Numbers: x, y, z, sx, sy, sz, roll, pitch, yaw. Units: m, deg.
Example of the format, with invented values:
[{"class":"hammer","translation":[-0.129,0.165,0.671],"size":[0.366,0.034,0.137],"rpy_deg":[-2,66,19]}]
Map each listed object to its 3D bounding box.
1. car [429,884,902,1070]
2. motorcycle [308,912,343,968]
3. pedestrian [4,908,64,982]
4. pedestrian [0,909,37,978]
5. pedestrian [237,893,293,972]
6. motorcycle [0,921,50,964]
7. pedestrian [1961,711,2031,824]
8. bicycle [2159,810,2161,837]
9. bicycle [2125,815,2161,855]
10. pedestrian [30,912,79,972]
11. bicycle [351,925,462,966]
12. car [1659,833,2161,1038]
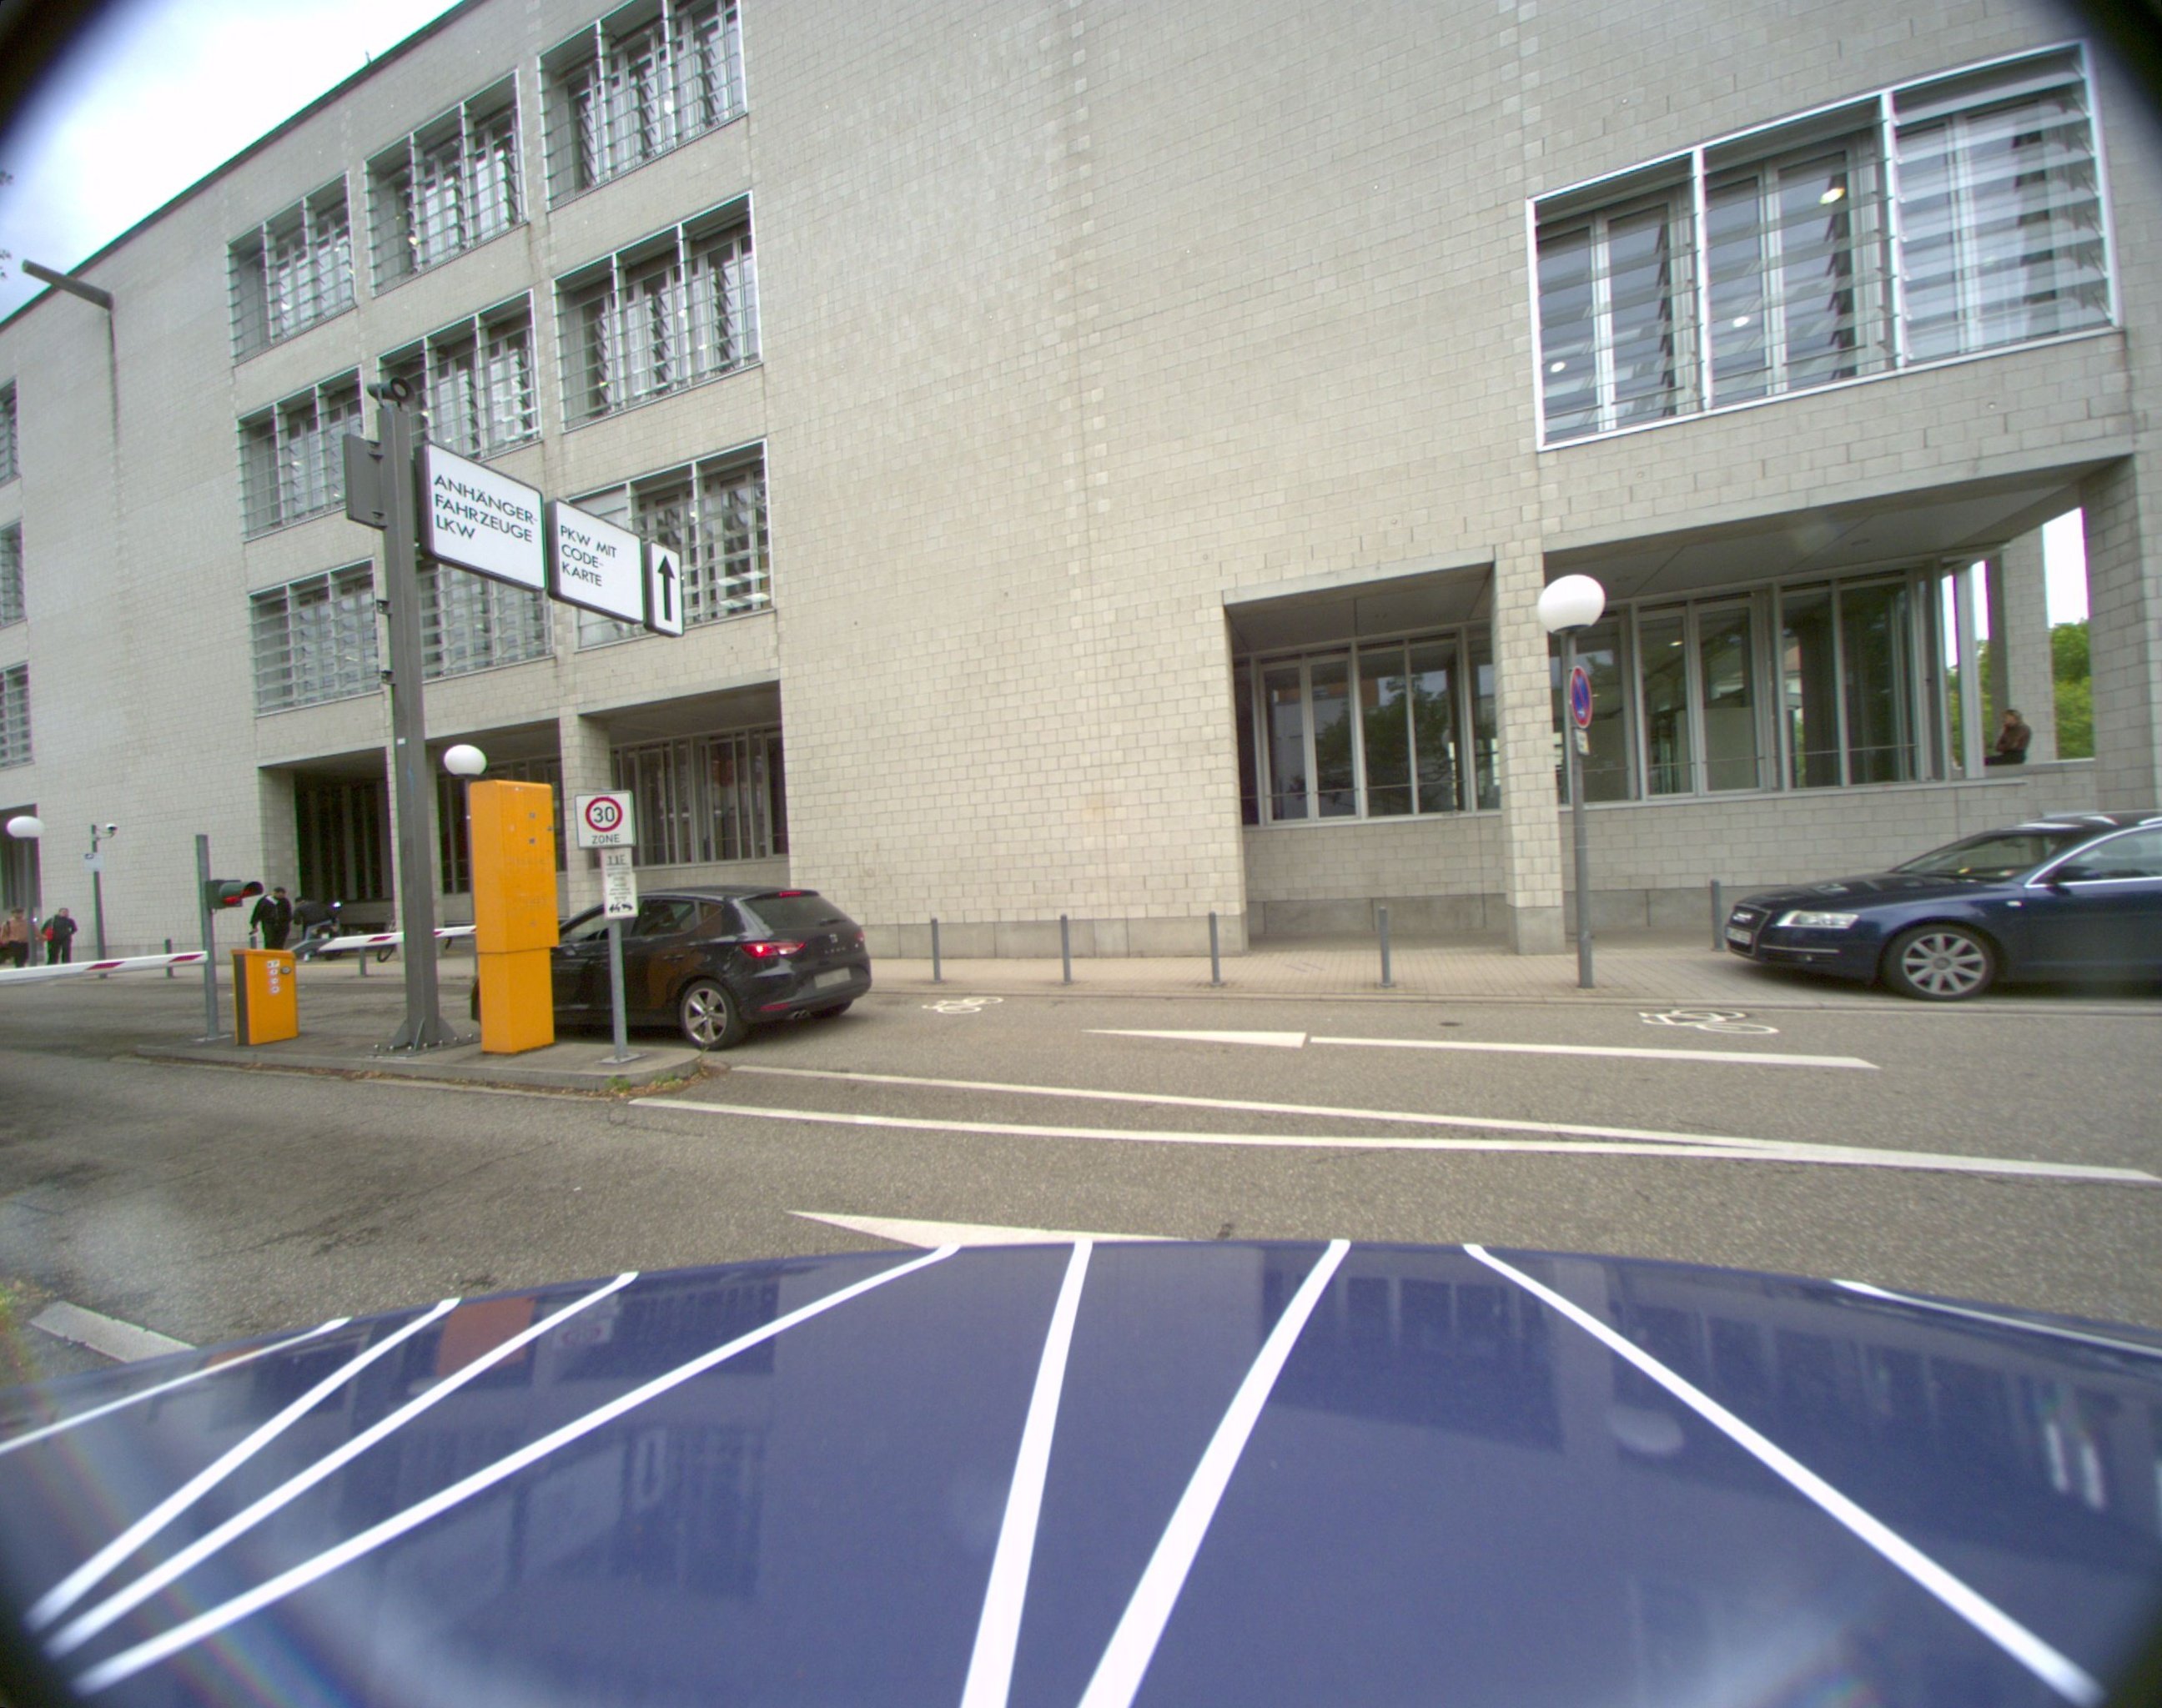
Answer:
[{"class":"car","translation":[-4.095,1.103,7.568],"size":[4.121,1.410,1.791],"rpy_deg":[-3,0,20]},{"class":"motorcycle","translation":[-18.027,2.021,18.129],"size":[0.569,1.141,2.210],"rpy_deg":[0,0,-45]},{"class":"pedestrian","translation":[-25.250,2.179,18.332],"size":[0.488,1.704,0.699],"rpy_deg":[-3,0,18]},{"class":"pedestrian","translation":[-27.480,2.280,19.483],"size":[0.488,1.704,0.700],"rpy_deg":[-3,0,25]},{"class":"pedestrian","translation":[-18.458,1.760,17.191],"size":[0.573,1.705,0.614],"rpy_deg":[-3,1,22]},{"class":"motorcycle","translation":[-33.707,2.792,24.119],"size":[0.763,1.141,2.655],"rpy_deg":[0,0,-45]},{"class":"pedestrian","translation":[14.315,-1.310,11.902],"size":[0.809,1.649,0.629],"rpy_deg":[0,0,-45]},{"class":"bicycle","translation":[48.541,-1.444,32.066],"size":[3.386,1.163,1.057],"rpy_deg":[-4,-1,26]},{"class":"bicycle","translation":[33.278,-0.571,22.390],"size":[3.100,1.163,0.623],"rpy_deg":[-1,0,22]},{"class":"pedestrian","translation":[-27.456,2.337,20.324],"size":[0.471,1.518,0.647],"rpy_deg":[-3,0,22]},{"class":"bicycle","translation":[-15.236,2.054,17.238],"size":[0.492,0.695,1.905],"rpy_deg":[0,0,17]},{"class":"car","translation":[8.337,0.622,6.552],"size":[4.912,1.443,2.003],"rpy_deg":[-3,0,20]}]
